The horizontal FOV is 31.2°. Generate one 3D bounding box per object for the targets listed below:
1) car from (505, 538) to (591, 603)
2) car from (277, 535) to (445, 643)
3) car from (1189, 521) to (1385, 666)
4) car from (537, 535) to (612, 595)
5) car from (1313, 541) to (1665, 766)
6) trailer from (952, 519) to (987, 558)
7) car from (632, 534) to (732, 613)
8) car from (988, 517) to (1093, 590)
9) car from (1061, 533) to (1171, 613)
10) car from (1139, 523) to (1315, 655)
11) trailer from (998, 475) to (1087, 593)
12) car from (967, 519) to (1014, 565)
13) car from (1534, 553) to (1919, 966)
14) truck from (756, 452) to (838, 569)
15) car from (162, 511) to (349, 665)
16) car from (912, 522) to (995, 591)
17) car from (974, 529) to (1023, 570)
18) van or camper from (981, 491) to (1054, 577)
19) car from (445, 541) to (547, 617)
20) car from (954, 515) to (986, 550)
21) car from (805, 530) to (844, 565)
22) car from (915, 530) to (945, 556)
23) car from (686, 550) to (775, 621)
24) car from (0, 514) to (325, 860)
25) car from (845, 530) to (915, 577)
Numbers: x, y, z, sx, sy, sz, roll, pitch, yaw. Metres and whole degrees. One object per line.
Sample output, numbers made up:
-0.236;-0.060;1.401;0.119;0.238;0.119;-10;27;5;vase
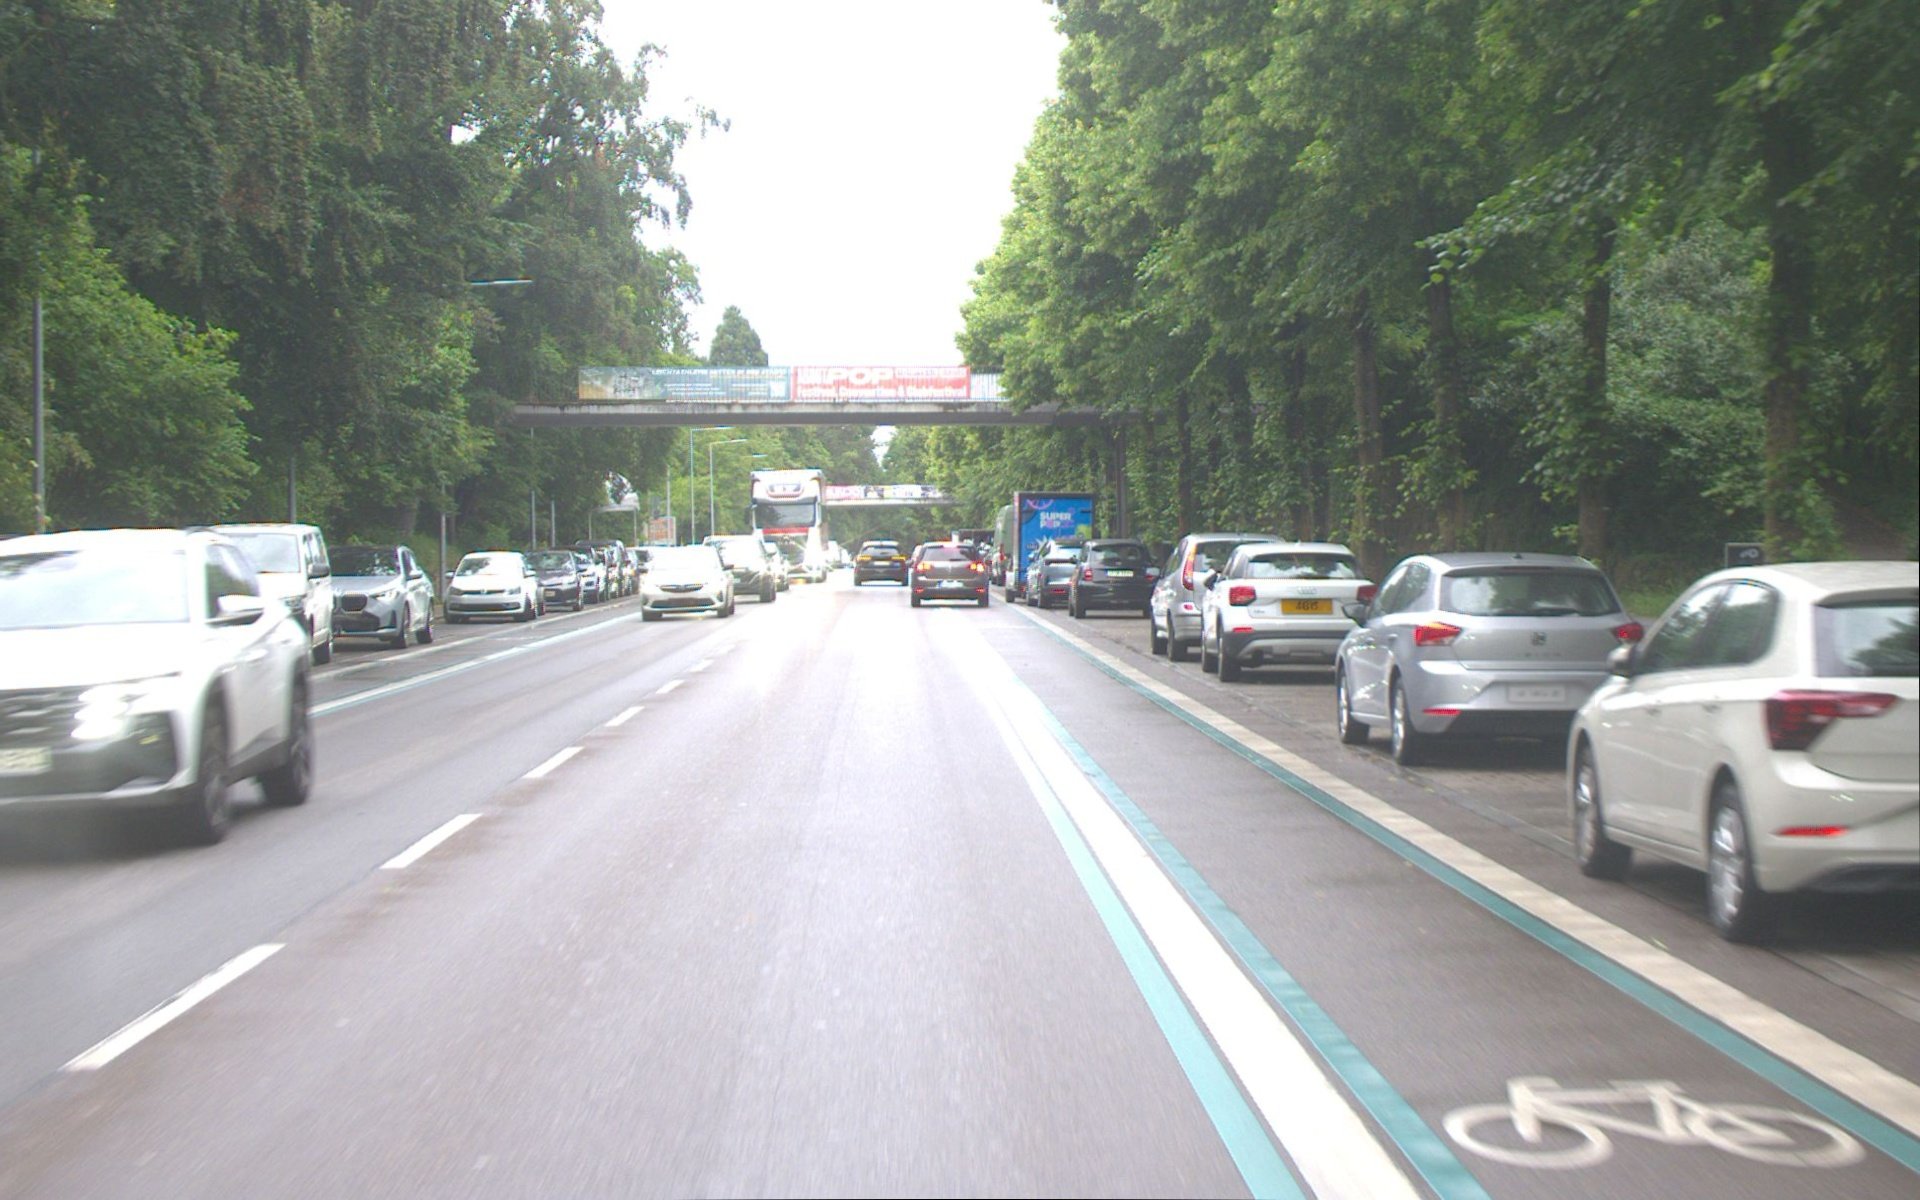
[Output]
-9.955;-0.729;83.238;1.831;1.472;4.041;-1;2;-4;car
-9.679;-0.222;55.903;2.010;1.600;4.780;-1;2;-2;car
3.590;-0.112;38.395;1.698;1.508;4.469;1;1;-1;car
-10.540;-0.973;94.119;1.687;1.541;4.233;-1;2;-2;car
3.683;0.318;24.612;1.698;1.448;4.098;1;1;-3;car
0.545;-3.490;196.037;1.884;2.158;3.808;-1;1;-1;trailer
-5.562;-0.563;69.168;1.775;1.461;4.063;-3;1;-2;car
1.750;-1.066;76.371;1.899;1.542;4.756;1;1;-4;car
3.029;-0.552;67.478;1.825;1.498;4.571;-1;1;-2;car
3.366;-0.184;44.087;1.753;1.591;4.740;0;1;-2;car
1.948;-1.588;82.174;1.952;2.749;4.007;0;1;-1;trailer
1.333;-2.592;152.873;1.926;2.015;4.664;1;1;-1;car
3.659;0.554;14.325;1.698;1.448;3.947;1;1;-3;car
-5.863;-3.213;124.420;2.517;4.032;4.917;-3;1;0;truck
-9.596;-0.219;47.176;1.973;1.998;5.020;0;2;-5;car
-0.152;-0.995;77.731;1.818;1.503;4.139;0;1;0;car
1.498;-1.981;134.280;1.756;1.584;4.499;1;1;-1;car
1.849;-2.168;113.134;2.042;2.720;6.901;1;1;-2;van or camper
-9.795;-0.460;72.787;1.789;1.477;3.983;-1;2;-3;car
0.625;-4.160;212.908;1.889;2.120;4.045;-1;1;0;car
-6.726;-2.620;171.133;1.834;1.660;4.181;-3;1;-1;car
-1.853;-3.548;213.425;1.731;1.578;4.037;-1;1;-1;car
-5.641;-0.382;84.928;1.961;1.611;4.466;-1;1;-1;car
-4.777;0.373;18.714;1.953;1.633;4.446;-1;2;-2;car
-2.649;-1.551;112.556;2.140;1.487;4.499;1;1;-3;car
